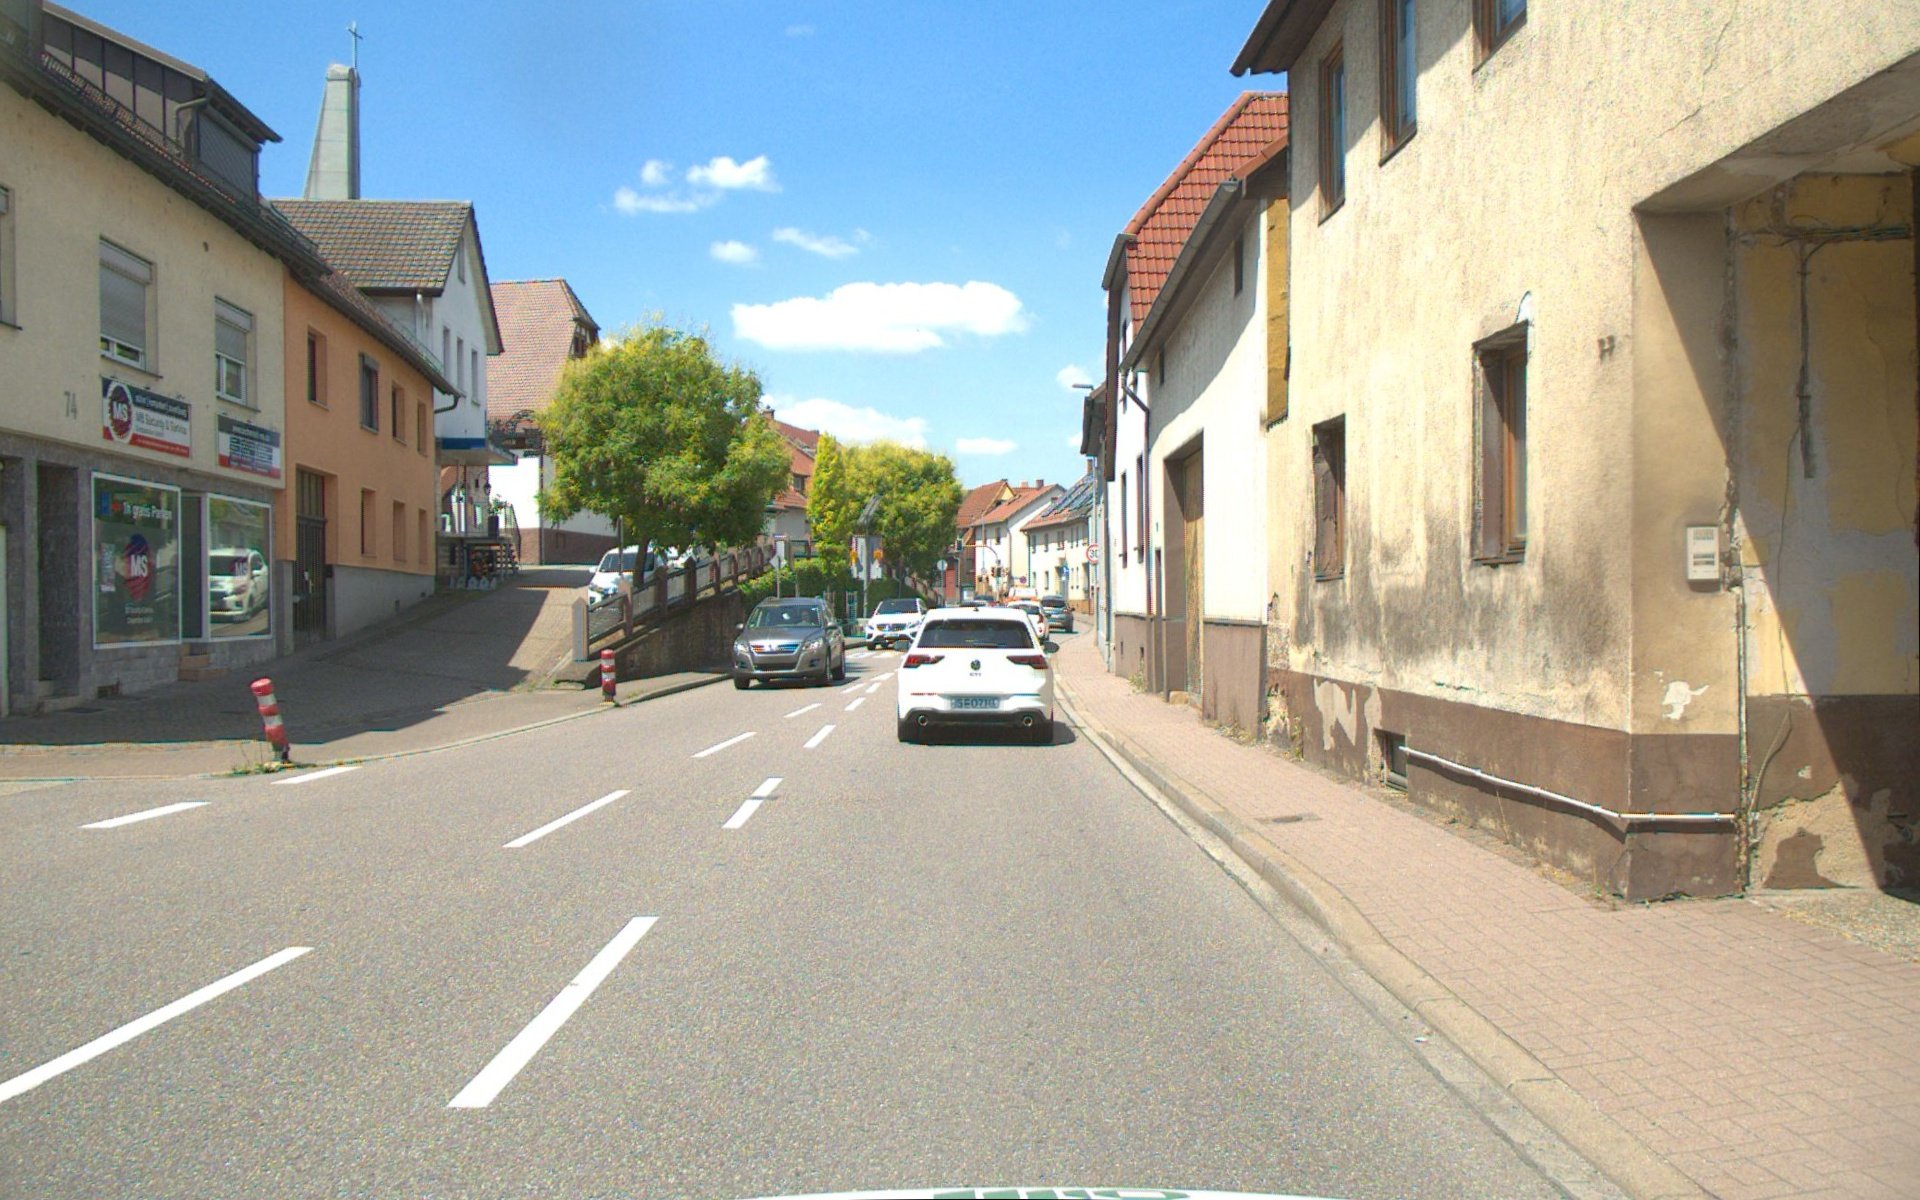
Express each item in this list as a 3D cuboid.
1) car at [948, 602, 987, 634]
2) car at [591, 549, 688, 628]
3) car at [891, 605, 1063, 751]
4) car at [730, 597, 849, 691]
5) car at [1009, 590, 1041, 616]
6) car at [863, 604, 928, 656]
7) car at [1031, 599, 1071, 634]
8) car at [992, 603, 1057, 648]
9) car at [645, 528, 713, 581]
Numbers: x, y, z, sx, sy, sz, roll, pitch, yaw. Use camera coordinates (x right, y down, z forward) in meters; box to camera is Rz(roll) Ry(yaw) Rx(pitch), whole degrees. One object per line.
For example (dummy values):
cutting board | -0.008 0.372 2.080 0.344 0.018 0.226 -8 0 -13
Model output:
car | 0.372 0.860 81.125 1.775 1.472 4.431 -2 0 1
car | -7.787 -0.336 40.476 1.659 1.569 3.857 0 6 -1
car | 0.215 0.829 19.303 1.770 1.493 4.000 1 0 1
car | -3.225 0.794 31.976 1.721 1.664 4.050 -1 0 2
car | 4.622 0.184 118.016 1.741 1.796 3.996 -1 0 -5
car | -2.107 0.974 55.364 1.804 1.608 4.446 -1 0 2
car | 4.231 0.764 77.267 1.739 1.565 4.000 -1 0 1
car | 2.323 0.889 58.913 1.769 1.493 4.003 1 0 10
car | -8.845 -1.477 52.347 1.544 1.385 3.857 0 6 -1
